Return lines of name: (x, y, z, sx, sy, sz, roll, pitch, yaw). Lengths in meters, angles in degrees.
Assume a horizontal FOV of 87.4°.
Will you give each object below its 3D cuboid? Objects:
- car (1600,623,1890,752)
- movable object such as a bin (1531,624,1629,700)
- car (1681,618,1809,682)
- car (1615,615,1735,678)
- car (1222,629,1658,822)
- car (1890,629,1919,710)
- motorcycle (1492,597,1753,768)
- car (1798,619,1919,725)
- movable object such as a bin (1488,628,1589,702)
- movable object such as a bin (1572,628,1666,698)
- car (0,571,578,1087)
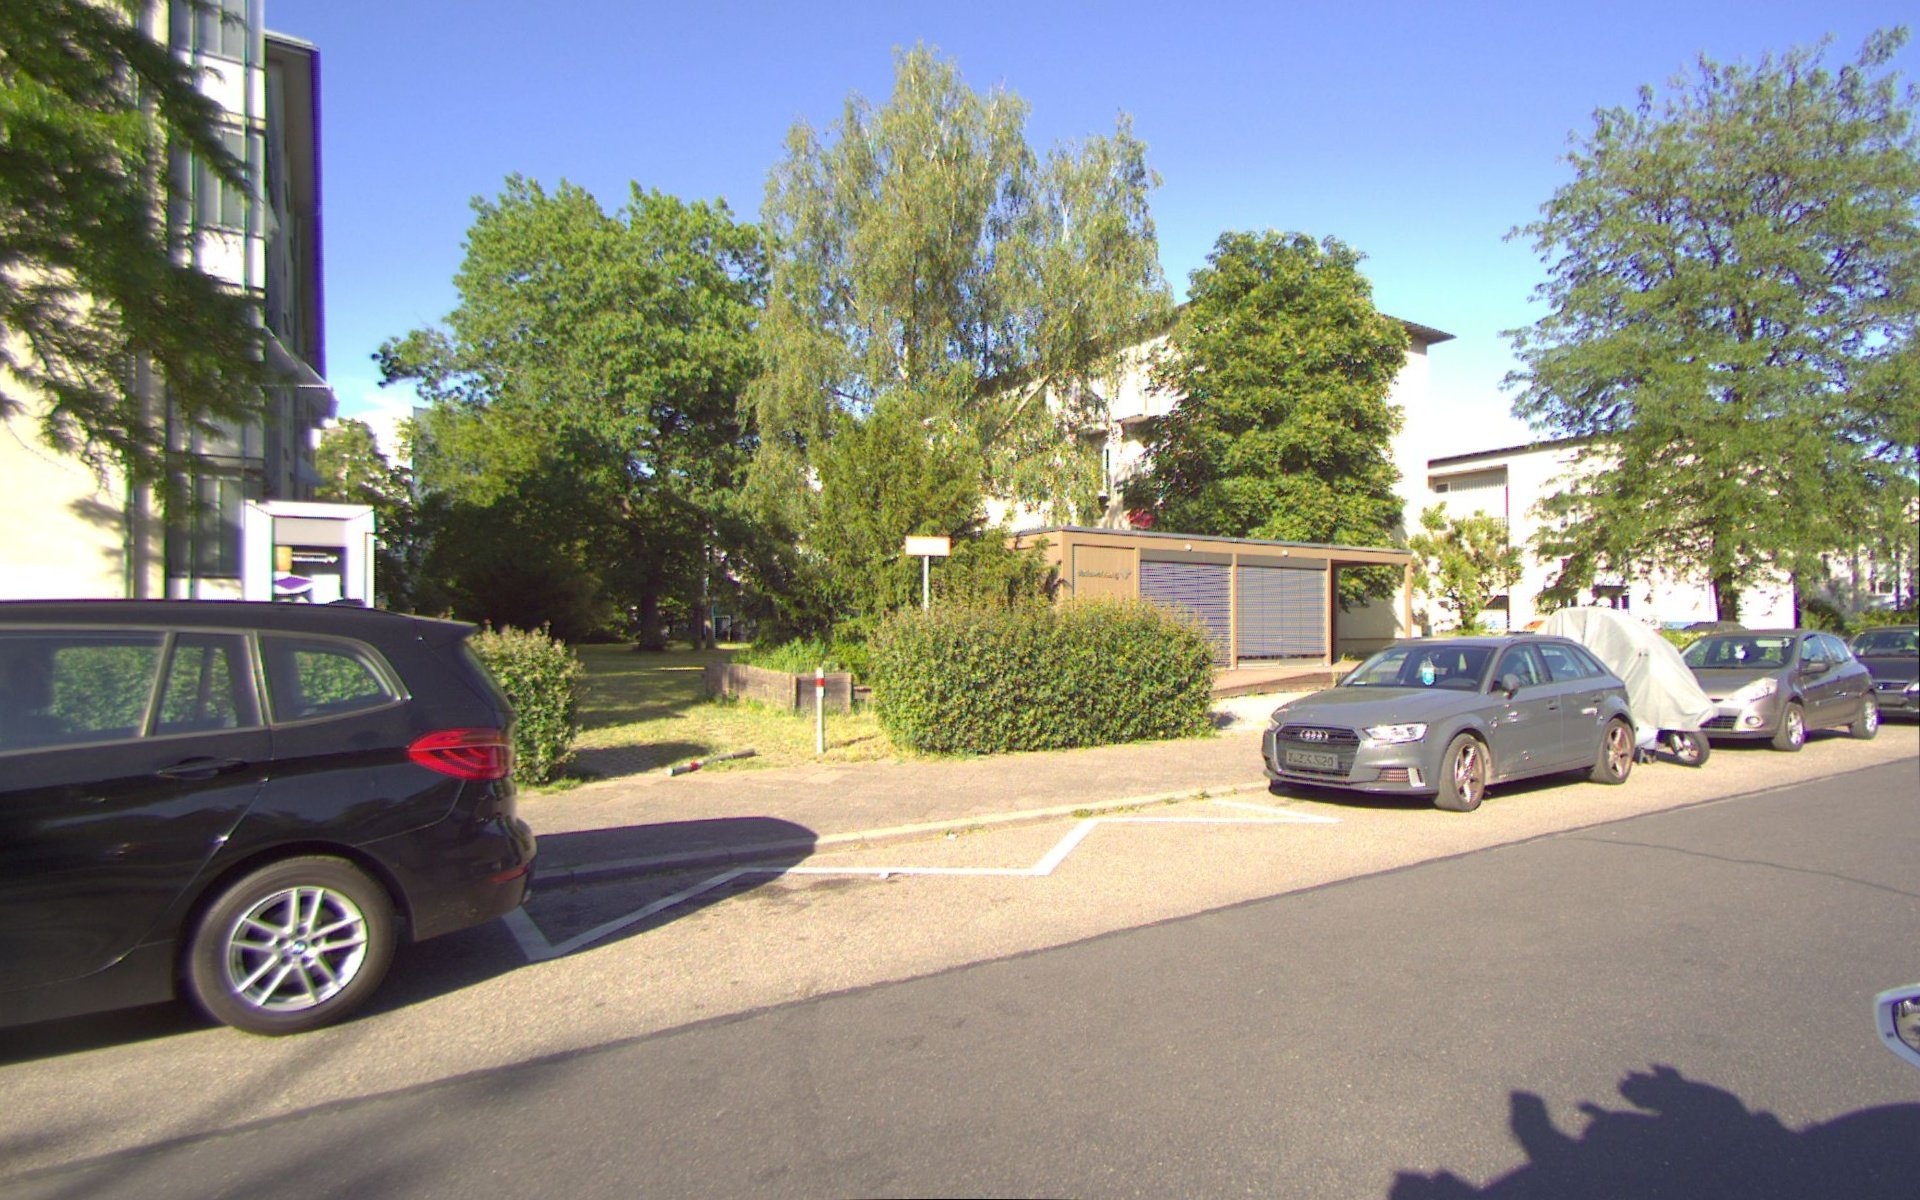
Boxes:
car: (10.531, 1.092, 13.432, 3.914, 1.500, 1.746, 1, -4, -31)
movable object such as a bin: (12.107, 1.179, 19.630, 1.328, 1.426, 1.171, 1, -1, -32)
car: (20.561, 1.272, 26.281, 3.960, 1.545, 1.560, 1, -1, -35)
car: (20.244, 1.278, 28.396, 3.960, 1.663, 1.560, 1, -1, -35)
car: (4.606, 1.029, 9.464, 4.223, 1.439, 1.745, 1, -4, -33)
car: (19.900, 1.298, 19.462, 4.490, 1.500, 1.744, 1, -4, -34)
motorcycle: (7.472, 0.921, 11.463, 0.923, 1.749, 2.242, 1, -4, -35)
car: (15.682, 1.143, 16.678, 3.682, 1.594, 1.744, 1, -4, -34)
movable object such as a bin: (10.869, 1.187, 18.887, 1.328, 1.305, 1.171, 1, -1, -32)
movable object such as a bin: (13.508, 1.270, 20.606, 1.328, 1.358, 1.171, 1, -1, -31)
car: (-3.881, 0.781, 3.786, 4.323, 1.656, 1.745, 1, -4, -33)
